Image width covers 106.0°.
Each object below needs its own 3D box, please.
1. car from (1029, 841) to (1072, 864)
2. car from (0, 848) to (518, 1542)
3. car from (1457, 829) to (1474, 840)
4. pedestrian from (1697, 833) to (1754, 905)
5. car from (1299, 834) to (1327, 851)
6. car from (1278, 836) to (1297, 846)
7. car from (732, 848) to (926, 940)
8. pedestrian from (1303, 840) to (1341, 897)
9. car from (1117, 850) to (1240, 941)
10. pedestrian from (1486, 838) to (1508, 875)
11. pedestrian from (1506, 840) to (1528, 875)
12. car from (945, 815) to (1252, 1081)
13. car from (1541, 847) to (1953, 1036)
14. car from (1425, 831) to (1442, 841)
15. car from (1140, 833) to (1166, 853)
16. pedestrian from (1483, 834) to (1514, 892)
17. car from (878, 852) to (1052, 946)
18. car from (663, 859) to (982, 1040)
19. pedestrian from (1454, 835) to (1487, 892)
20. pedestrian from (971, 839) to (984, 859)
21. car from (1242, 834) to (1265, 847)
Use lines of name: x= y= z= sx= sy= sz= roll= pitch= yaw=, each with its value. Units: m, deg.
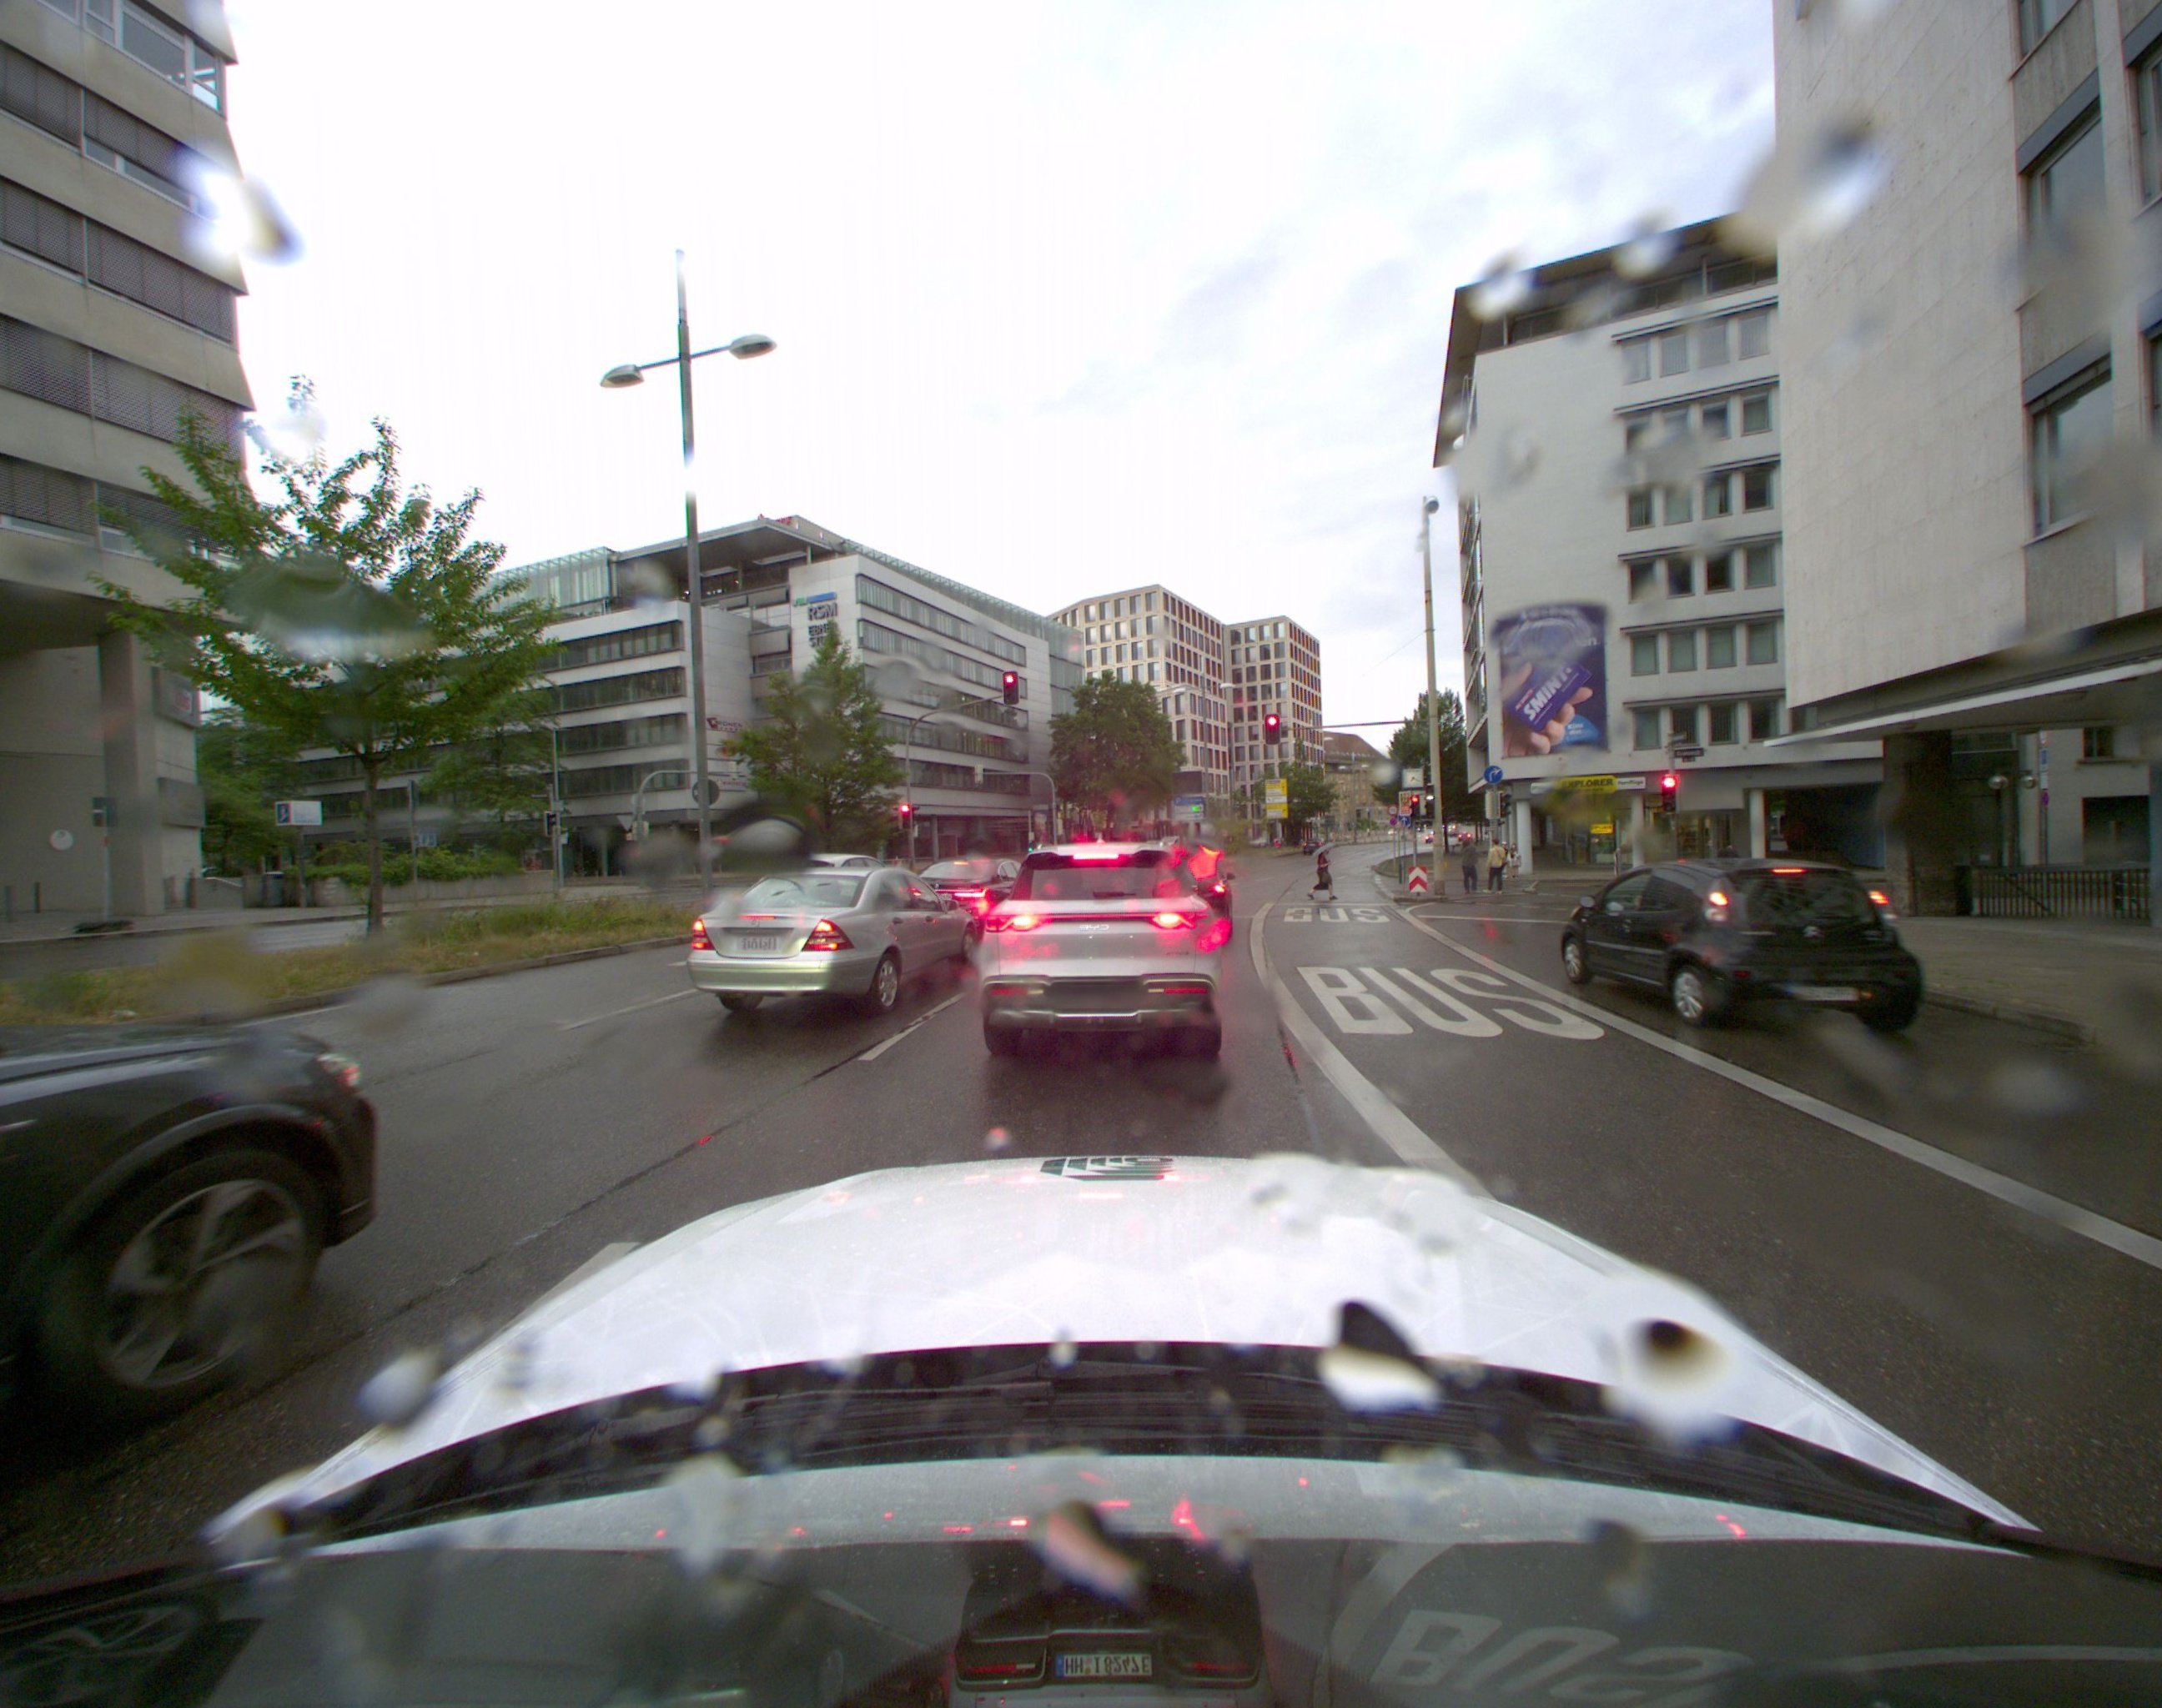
car: x=-2.436 y=-0.139 z=66.080 sx=1.976 sy=1.705 sz=4.022 roll=-1 pitch=2 yaw=21
car: x=-3.204 y=0.734 z=1.102 sx=1.931 sy=1.435 sz=4.285 roll=-2 pitch=0 yaw=-1
car: x=61.770 y=-3.127 z=130.713 sx=2.027 sy=1.765 sz=4.384 roll=0 pitch=1 yaw=30
pedestrian: x=16.187 y=0.368 z=20.465 sx=0.800 sy=1.755 sz=1.005 roll=0 pitch=-1 yaw=-44
car: x=21.397 y=-1.032 z=75.029 sx=1.976 sy=1.552 sz=4.022 roll=0 pitch=1 yaw=23
car: x=34.926 y=-2.208 z=137.734 sx=1.975 sy=1.705 sz=4.336 roll=-1 pitch=2 yaw=29
car: x=-4.825 y=0.697 z=16.277 sx=1.871 sy=1.596 sz=4.015 roll=-1 pitch=0 yaw=14
pedestrian: x=7.562 y=0.456 z=25.560 sx=0.920 sy=1.738 sz=0.729 roll=-1 pitch=0 yaw=-3
car: x=2.040 y=0.703 z=15.976 sx=1.941 sy=1.530 sz=4.014 roll=-1 pitch=0 yaw=13
pedestrian: x=18.875 y=0.123 z=36.955 sx=0.721 sy=1.668 sz=0.694 roll=-1 pitch=-1 yaw=17
pedestrian: x=19.590 y=0.155 z=36.595 sx=0.721 sy=1.524 sz=0.763 roll=-1 pitch=-1 yaw=17
car: x=0.265 y=0.616 z=7.717 sx=1.985 sy=1.709 sz=4.488 roll=-3 pitch=0 yaw=4
car: x=6.222 y=0.682 z=8.177 sx=1.652 sy=1.473 sz=3.492 roll=-1 pitch=0 yaw=9
car: x=52.128 y=-2.628 z=120.399 sx=1.892 sy=1.510 sz=4.384 roll=0 pitch=1 yaw=30
car: x=7.994 y=-1.213 z=90.456 sx=1.723 sy=2.161 sz=4.516 roll=0 pitch=0 yaw=20
pedestrian: x=13.218 y=0.290 z=25.823 sx=0.721 sy=1.798 sz=0.742 roll=-1 pitch=0 yaw=17
car: x=-2.039 y=0.757 z=15.575 sx=1.941 sy=1.530 sz=4.014 roll=-1 pitch=0 yaw=13
car: x=-2.525 y=0.852 z=9.162 sx=1.672 sy=1.486 sz=4.207 roll=-1 pitch=0 yaw=9
pedestrian: x=12.460 y=0.300 z=26.062 sx=0.806 sy=1.798 sz=0.714 roll=-1 pitch=0 yaw=17
pedestrian: x=-8.944 y=-0.440 z=70.438 sx=0.721 sy=1.727 sz=0.930 roll=-1 pitch=0 yaw=23
car: x=25.254 y=-2.008 z=119.180 sx=1.975 sy=1.705 sz=4.336 roll=-1 pitch=2 yaw=29
